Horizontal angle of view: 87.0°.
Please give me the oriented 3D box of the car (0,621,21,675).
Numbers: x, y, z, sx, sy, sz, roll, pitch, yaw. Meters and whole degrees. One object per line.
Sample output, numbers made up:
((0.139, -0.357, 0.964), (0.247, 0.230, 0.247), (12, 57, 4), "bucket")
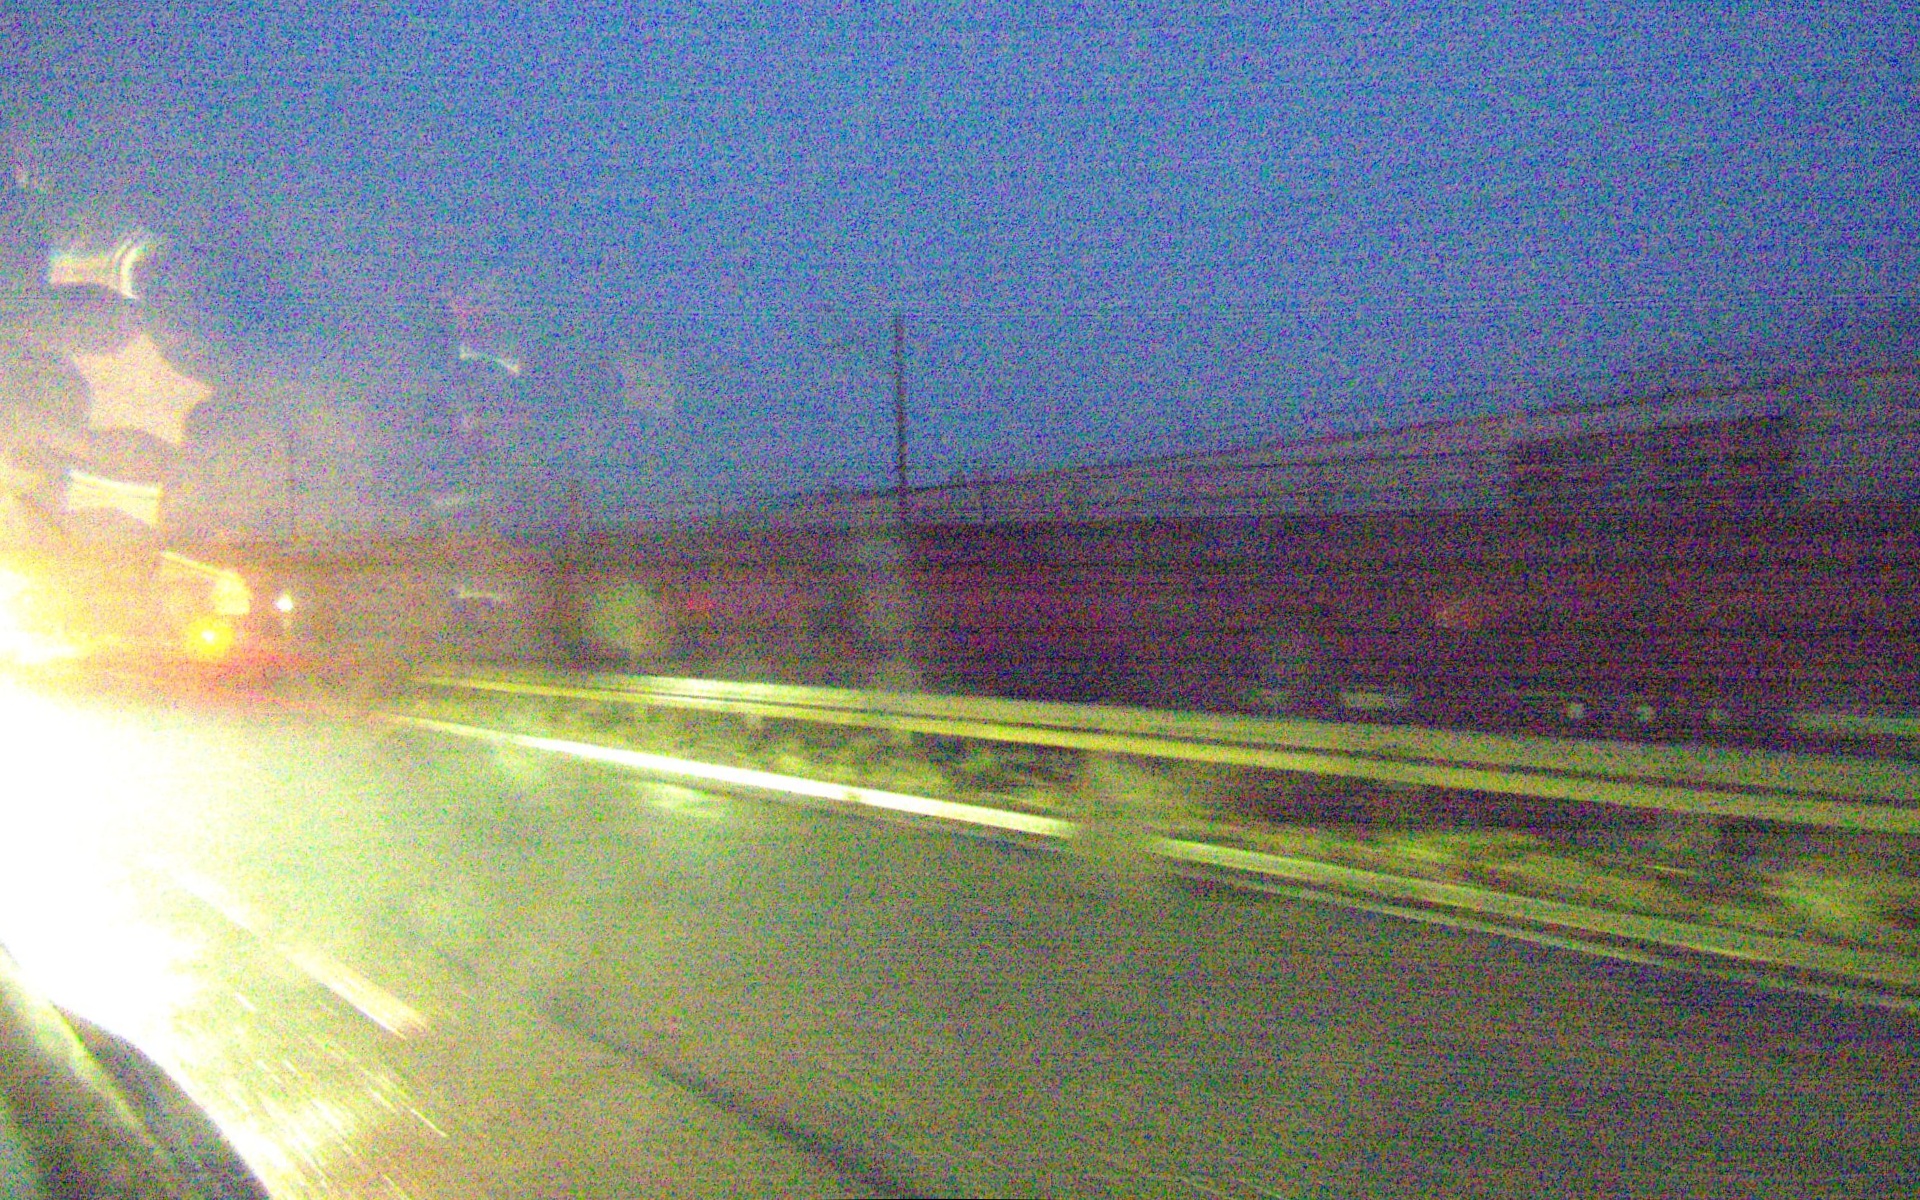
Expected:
((-28.686, 1.398, 29.156), (4.272, 1.481, 1.884), (-1, 1, 41), "car")
